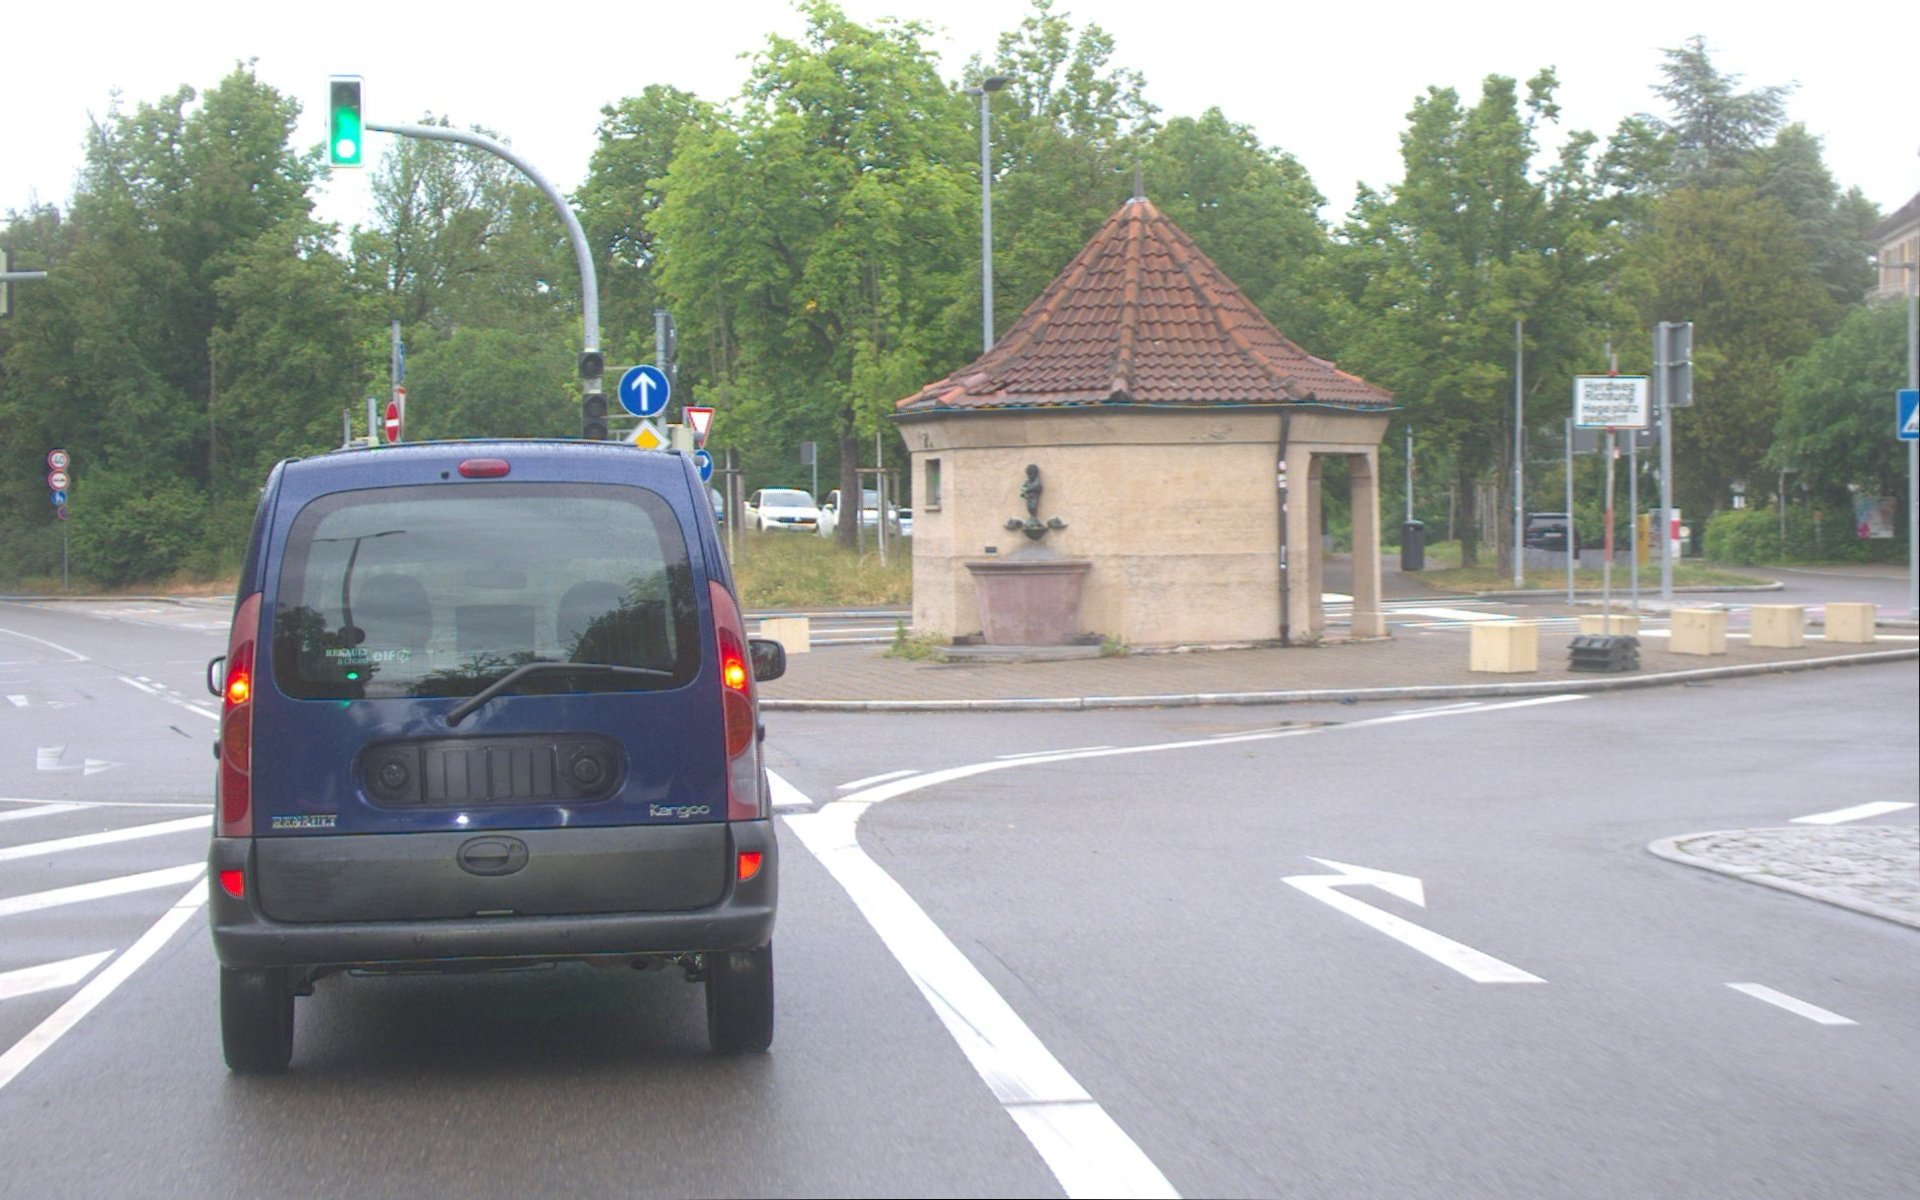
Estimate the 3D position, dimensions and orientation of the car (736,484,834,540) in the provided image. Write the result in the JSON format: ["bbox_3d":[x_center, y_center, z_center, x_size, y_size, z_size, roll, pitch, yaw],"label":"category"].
[{"bbox_3d":[-4.842,-2.401,94.645,1.885,1.475,4.070,0,0,-15],"label":"car"}]

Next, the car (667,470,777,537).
[{"bbox_3d":[-6.307,-2.532,90.526,1.993,1.656,4.474,1,1,-15],"label":"car"}]

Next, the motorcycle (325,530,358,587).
[{"bbox_3d":[-14.464,-0.978,80.401,0.589,1.284,1.538,-2,2,-6],"label":"motorcycle"}]

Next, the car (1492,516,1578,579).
[{"bbox_3d":[18.819,-1.713,112.632,1.993,2.007,4.001,0,1,-2],"label":"car"}]

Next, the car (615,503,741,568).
[{"bbox_3d":[-6.789,-1.518,82.469,1.993,1.475,4.286,1,0,-19],"label":"car"}]

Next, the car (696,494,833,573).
[{"bbox_3d":[-4.393,-1.496,76.754,1.993,1.656,4.001,1,1,-19],"label":"car"}]

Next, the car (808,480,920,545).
[{"bbox_3d":[-2.381,-2.125,84.267,1.885,1.475,4.070,1,0,-14],"label":"car"}]

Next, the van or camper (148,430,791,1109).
[{"bbox_3d":[-1.597,0.416,11.325,1.712,1.819,4.001,-1,1,-8],"label":"van or camper"}]

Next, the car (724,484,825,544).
[{"bbox_3d":[-5.420,-2.493,99.833,1.993,1.656,4.474,1,1,-15],"label":"car"}]
